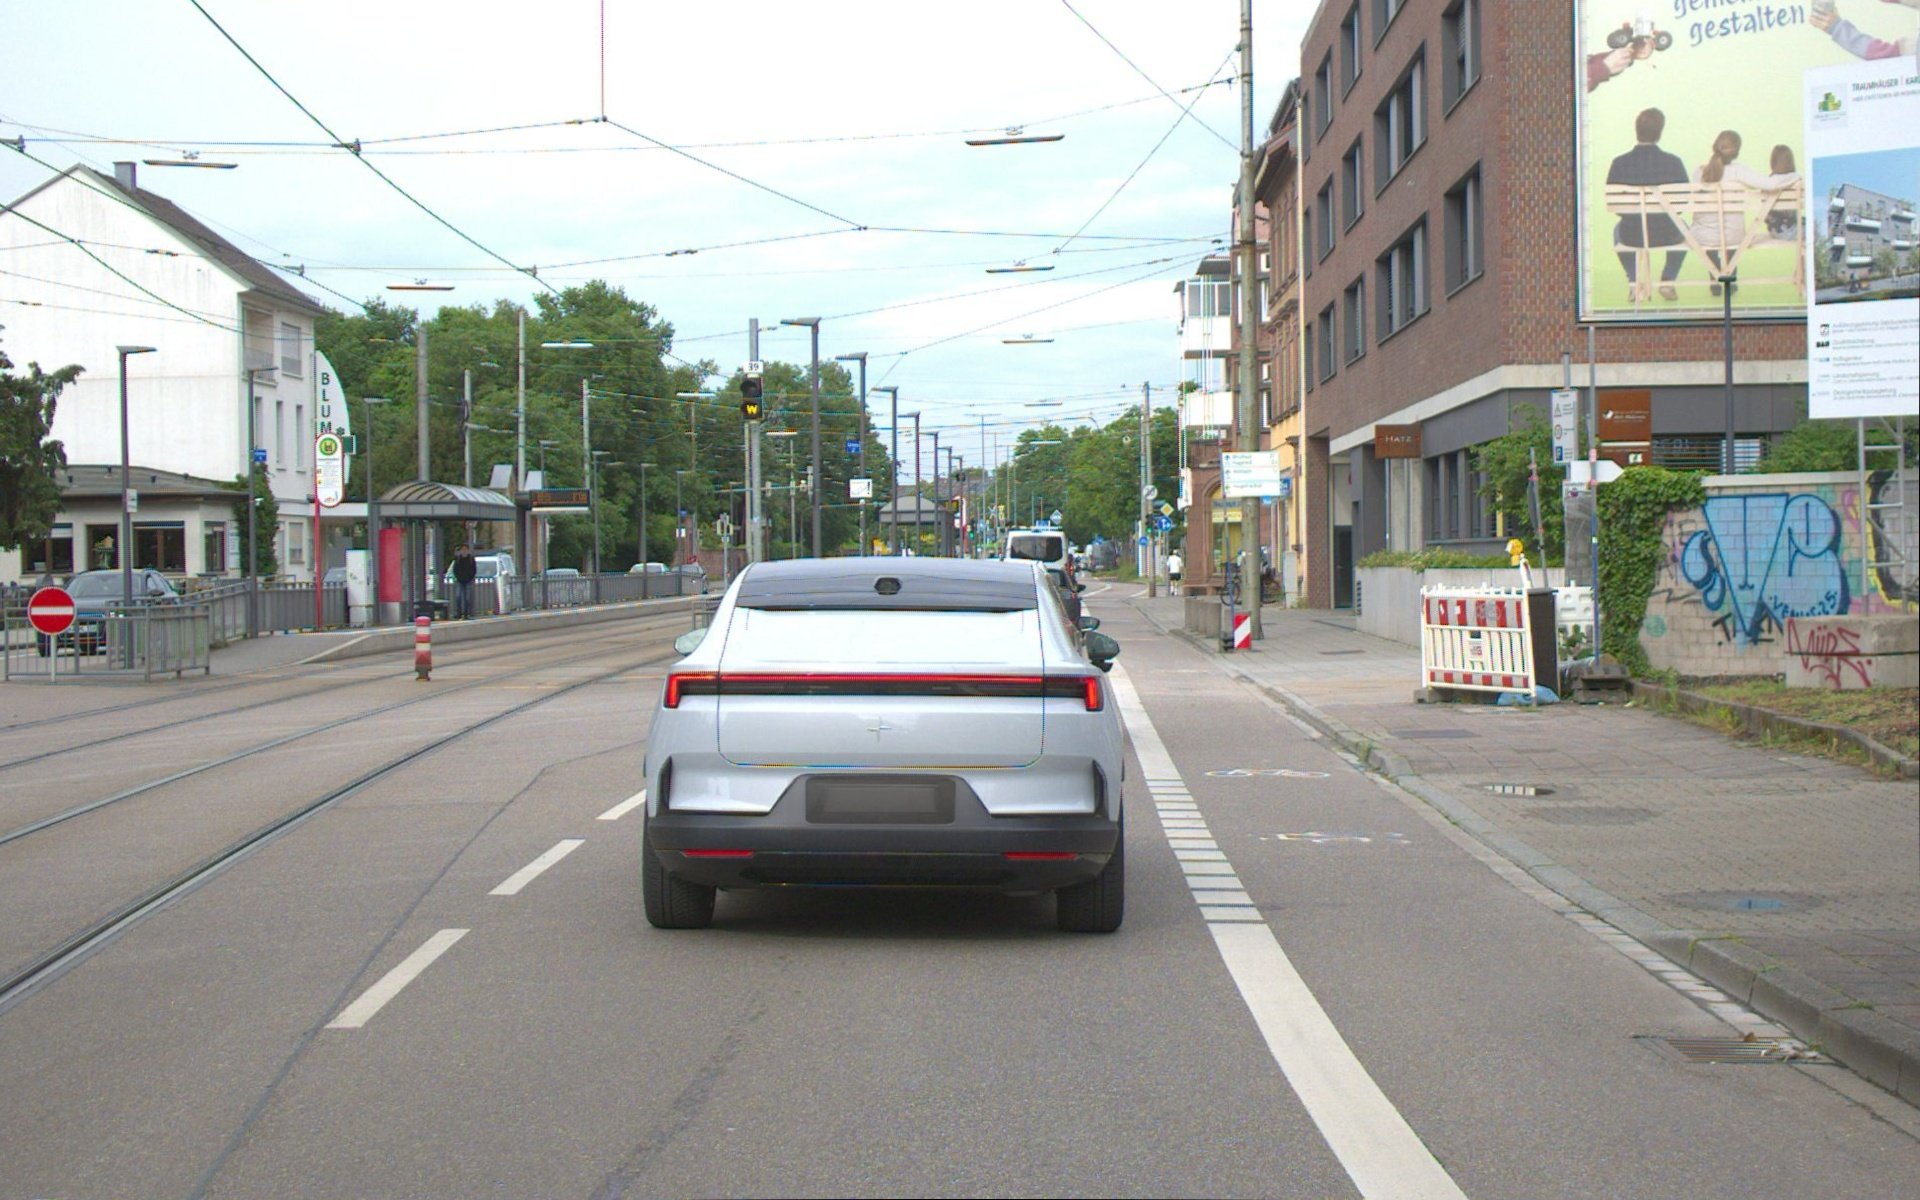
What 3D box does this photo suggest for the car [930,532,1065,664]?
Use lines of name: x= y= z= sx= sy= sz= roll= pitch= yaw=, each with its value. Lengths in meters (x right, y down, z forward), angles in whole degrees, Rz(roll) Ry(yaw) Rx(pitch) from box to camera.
car: x=0.534 y=-0.040 z=45.564 sx=1.681 sy=1.682 sz=3.823 roll=0 pitch=0 yaw=2

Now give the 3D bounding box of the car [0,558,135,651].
car: x=-15.464 y=0.054 z=59.478 sx=1.904 sy=1.468 sz=4.821 roll=-2 pitch=1 yaw=-9

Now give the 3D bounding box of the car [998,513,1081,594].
car: x=2.387 y=-1.399 z=104.367 sx=2.226 sy=2.394 sz=5.123 roll=0 pitch=0 yaw=-2

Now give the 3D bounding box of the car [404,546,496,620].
car: x=-14.362 y=-0.488 z=97.025 sx=1.884 sy=1.982 sz=4.525 roll=-1 pitch=1 yaw=0

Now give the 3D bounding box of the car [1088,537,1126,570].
car: x=11.019 y=-3.491 z=258.488 sx=2.807 sy=2.496 sz=5.722 roll=0 pitch=0 yaw=2

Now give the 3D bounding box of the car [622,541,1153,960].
car: x=-0.363 y=0.563 z=14.984 sx=1.999 sy=1.575 sz=4.000 roll=0 pitch=0 yaw=-3

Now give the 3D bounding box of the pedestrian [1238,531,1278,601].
pedestrian: x=8.196 y=-0.936 z=94.497 sx=0.961 sy=1.843 sz=0.975 roll=-3 pitch=1 yaw=8

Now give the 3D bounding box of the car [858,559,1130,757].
car: x=0.273 y=0.410 z=27.598 sx=1.993 sy=1.415 sz=4.000 roll=-1 pitch=1 yaw=1

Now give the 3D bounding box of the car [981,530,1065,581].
car: x=2.484 y=-1.760 z=137.436 sx=1.993 sy=2.007 sz=4.001 roll=0 pitch=0 yaw=-21

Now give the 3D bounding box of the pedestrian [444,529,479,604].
pedestrian: x=-11.047 y=-0.740 z=76.197 sx=0.615 sy=1.659 sz=0.697 roll=0 pitch=0 yaw=5
